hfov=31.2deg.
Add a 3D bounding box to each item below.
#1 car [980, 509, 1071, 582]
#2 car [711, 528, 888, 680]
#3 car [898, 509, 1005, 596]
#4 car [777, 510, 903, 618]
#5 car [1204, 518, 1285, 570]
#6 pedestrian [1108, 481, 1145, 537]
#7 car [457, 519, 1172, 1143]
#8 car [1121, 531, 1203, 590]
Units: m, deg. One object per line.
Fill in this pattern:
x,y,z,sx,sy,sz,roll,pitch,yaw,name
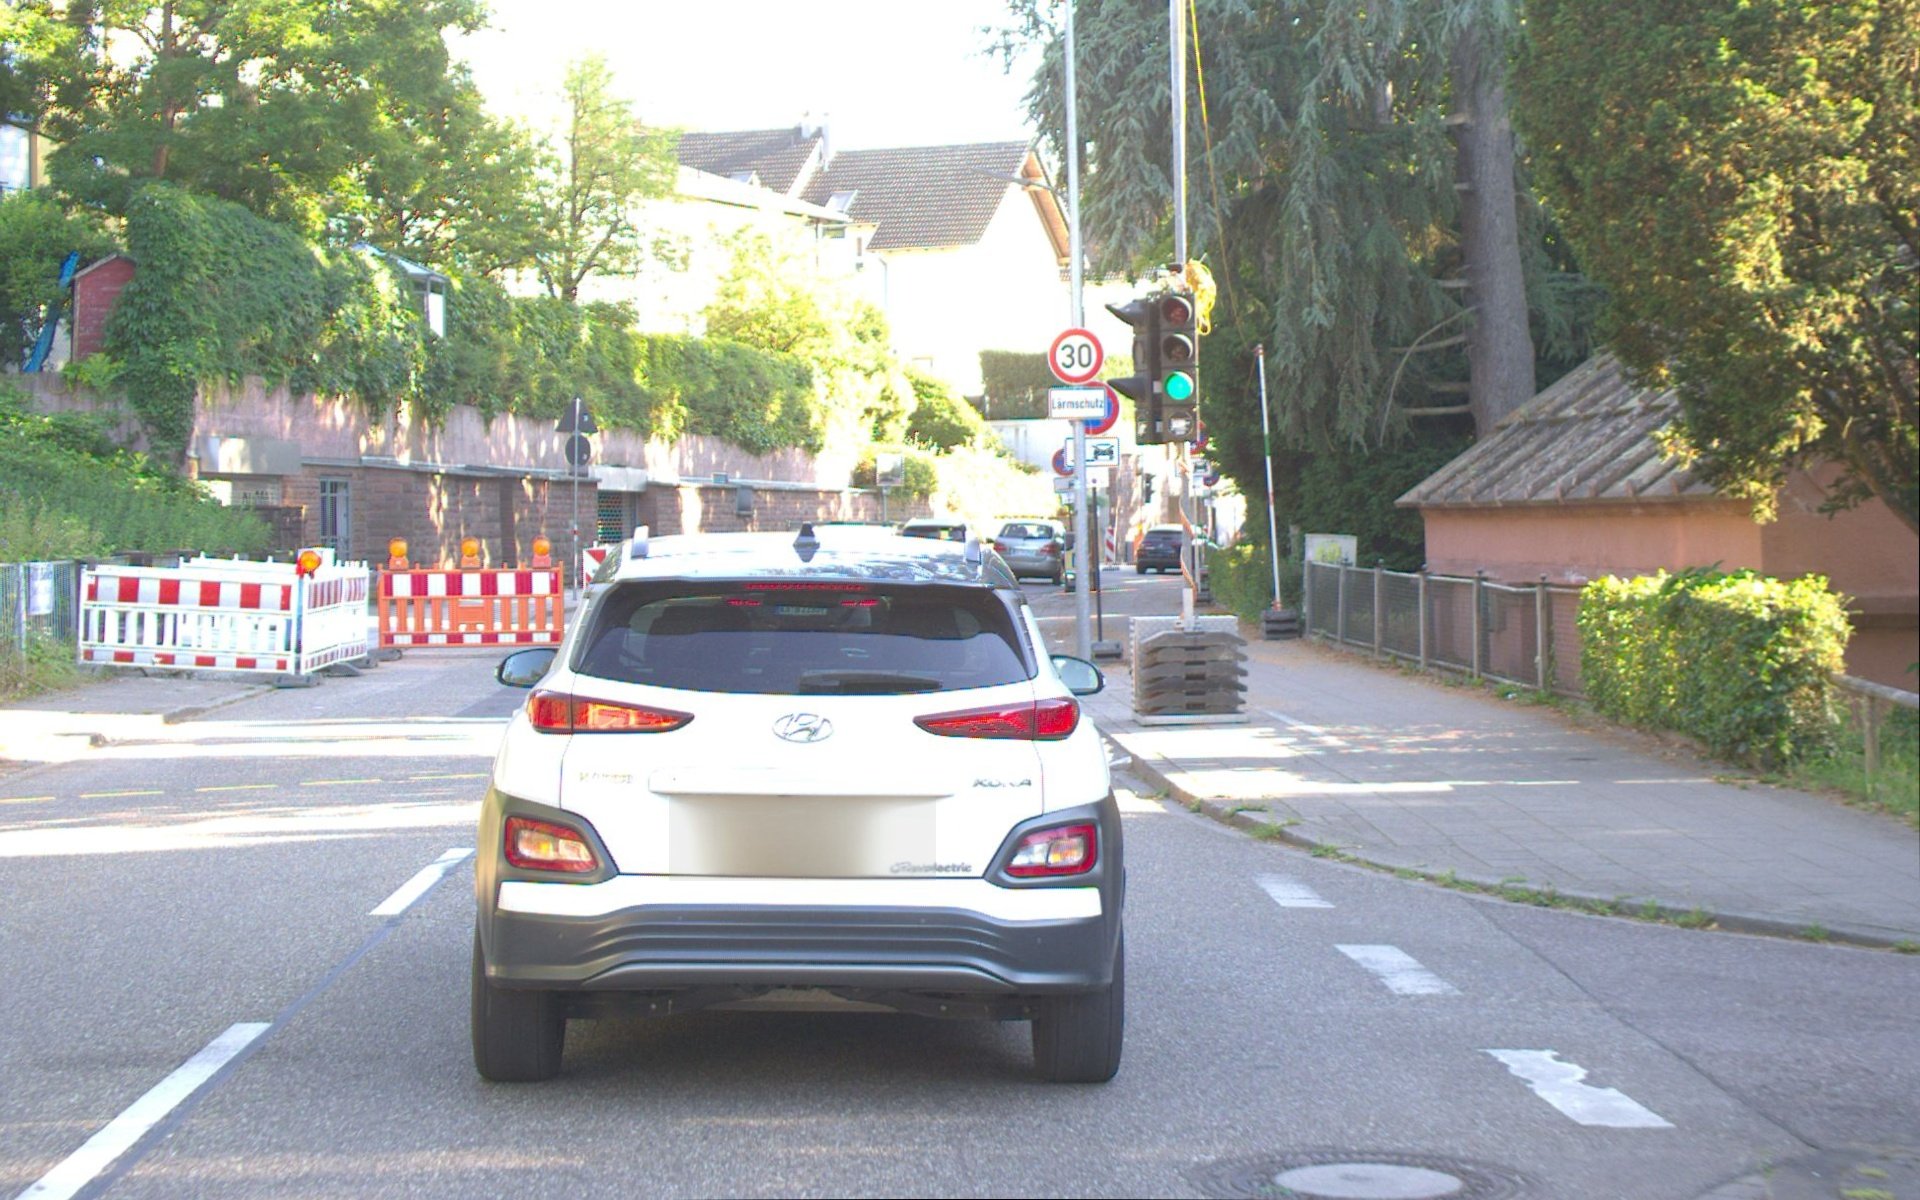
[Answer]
1.636,-1.346,84.369,1.832,1.735,3.999,0,1,7,car
-1.682,-0.001,36.130,1.708,1.429,4.366,2,1,-2,car
-0.141,-0.988,69.986,1.832,1.656,4.000,2,1,4,car
-1.812,-0.574,52.221,1.805,1.532,4.001,2,1,-2,car
9.435,-1.864,113.777,1.833,1.656,3.997,2,2,16,car
5.686,-3.118,117.664,1.080,1.905,0.840,1,1,15,pedestrian
-0.593,0.564,10.923,1.820,1.568,4.001,1,2,-6,car
5.937,-1.172,100.531,1.832,1.656,3.998,2,1,11,car
